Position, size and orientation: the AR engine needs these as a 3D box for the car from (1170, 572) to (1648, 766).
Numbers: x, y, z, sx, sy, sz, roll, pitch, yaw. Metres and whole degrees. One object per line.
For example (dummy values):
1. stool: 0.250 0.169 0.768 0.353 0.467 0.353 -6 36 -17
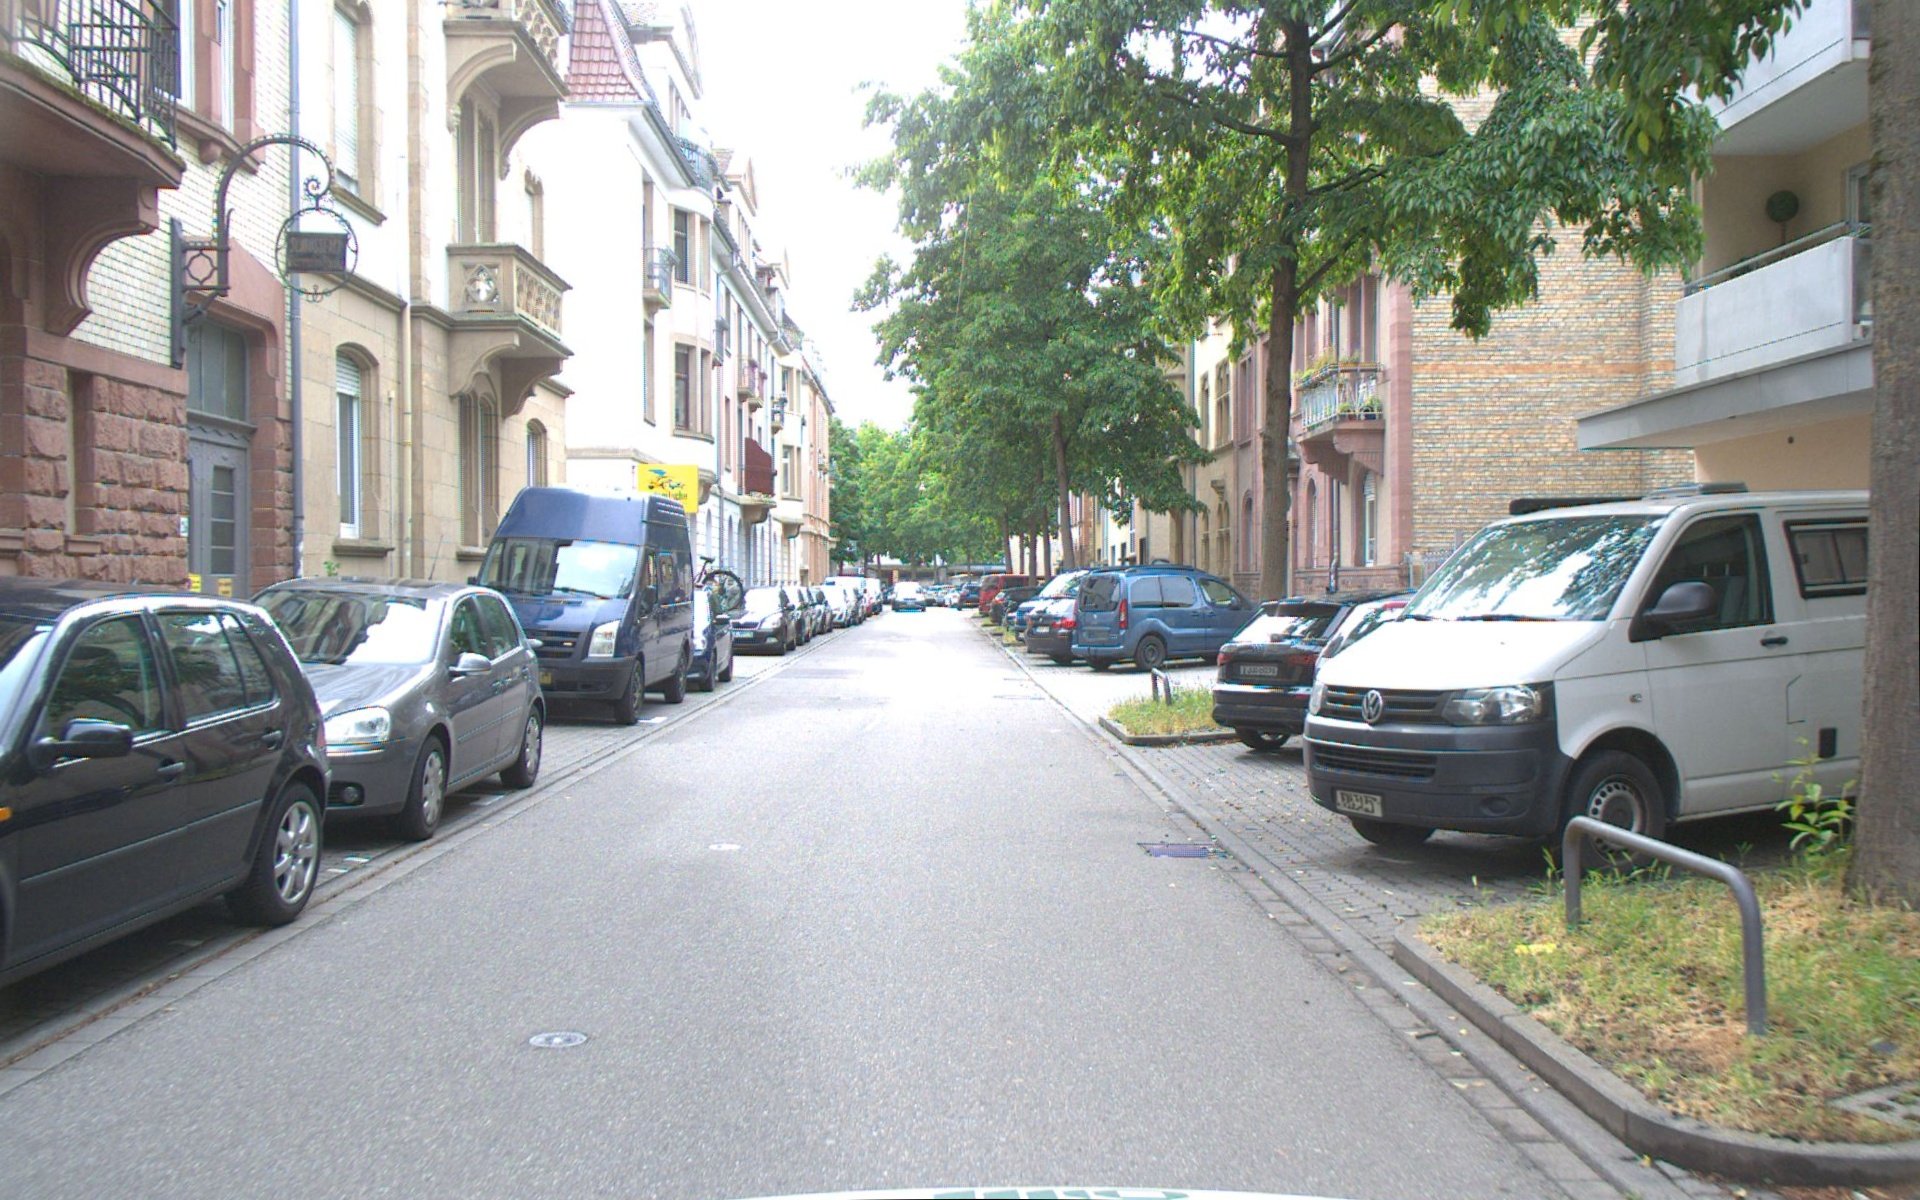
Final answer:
1. car: 4.214 0.547 15.327 4.261 1.417 1.902 -3 1 -33

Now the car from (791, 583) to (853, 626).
1. car: -4.980 0.141 59.993 1.953 1.501 3.999 1 0 -1

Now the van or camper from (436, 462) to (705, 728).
1. van or camper: -4.381 -0.066 19.541 1.967 2.698 5.315 1 0 -1

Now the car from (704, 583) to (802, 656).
1. car: -4.543 0.405 36.803 1.753 1.506 4.021 1 0 -2

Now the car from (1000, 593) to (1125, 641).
1. car: 3.126 0.510 50.715 3.638 1.433 1.573 0 0 -7

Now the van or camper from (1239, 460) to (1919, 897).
1. van or camper: 4.159 0.324 9.612 4.671 2.029 1.984 -2 -2 -26

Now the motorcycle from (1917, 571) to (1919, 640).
1. motorcycle: 8.964 0.396 13.706 0.664 1.323 2.252 -3 0 -1

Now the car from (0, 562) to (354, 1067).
1. car: -3.651 0.634 5.782 1.601 1.499 3.999 1 -1 -1

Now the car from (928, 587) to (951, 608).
1. car: -1.713 -0.178 137.389 1.832 1.657 3.998 0 -1 -2

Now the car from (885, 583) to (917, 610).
1. car: -3.927 -0.251 110.225 1.869 1.707 4.000 3 0 1

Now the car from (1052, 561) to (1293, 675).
1. car: 4.013 0.323 31.120 4.130 1.902 1.979 -3 0 -31

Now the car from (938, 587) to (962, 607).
1. car: -0.840 -0.217 131.491 1.832 1.557 3.999 1 0 -2

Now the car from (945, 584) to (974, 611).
1. car: -0.066 -0.176 116.965 1.953 1.825 3.998 1 -1 -2

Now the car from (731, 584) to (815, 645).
1. car: -4.805 0.345 42.912 1.792 1.451 3.800 3 0 -2

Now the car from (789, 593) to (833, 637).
1. car: -4.696 0.441 52.371 1.185 1.332 3.259 1 0 -2

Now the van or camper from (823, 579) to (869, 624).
1. van or camper: -5.245 0.050 76.568 1.843 2.002 4.407 1 0 -1

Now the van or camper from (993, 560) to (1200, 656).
1. van or camper: 3.305 0.182 39.874 4.729 2.175 2.033 0 0 -32

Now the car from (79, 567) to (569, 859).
1. car: -3.803 0.602 10.673 1.634 1.499 3.999 1 0 -1

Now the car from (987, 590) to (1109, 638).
1. car: 2.819 0.437 53.235 3.689 1.490 1.727 1 0 -7

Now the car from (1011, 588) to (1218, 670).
1. car: 3.186 0.547 33.931 3.972 1.587 1.864 0 0 -32

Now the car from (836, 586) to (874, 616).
1. car: -5.641 0.055 89.026 1.750 1.480 3.887 -4 0 -1

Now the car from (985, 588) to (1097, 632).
1. car: 2.798 0.350 57.894 3.689 1.490 1.727 1 0 -7

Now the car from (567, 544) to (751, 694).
1. car: -4.450 0.251 25.218 1.953 2.049 4.890 1 0 -1

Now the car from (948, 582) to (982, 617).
1. car: 0.273 -0.053 104.327 1.953 2.048 3.999 3 0 -2

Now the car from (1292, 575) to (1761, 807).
1. car: 4.371 0.602 12.672 3.382 1.466 1.652 -2 1 -33

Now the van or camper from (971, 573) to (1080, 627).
1. van or camper: 2.684 0.000 67.595 4.101 2.122 1.934 0 0 -29

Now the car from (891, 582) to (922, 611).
1. car: -3.217 -0.181 100.207 1.784 1.673 3.752 1 -1 -2

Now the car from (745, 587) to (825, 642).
1. car: -5.010 0.396 47.773 1.908 1.427 3.999 3 0 -2
